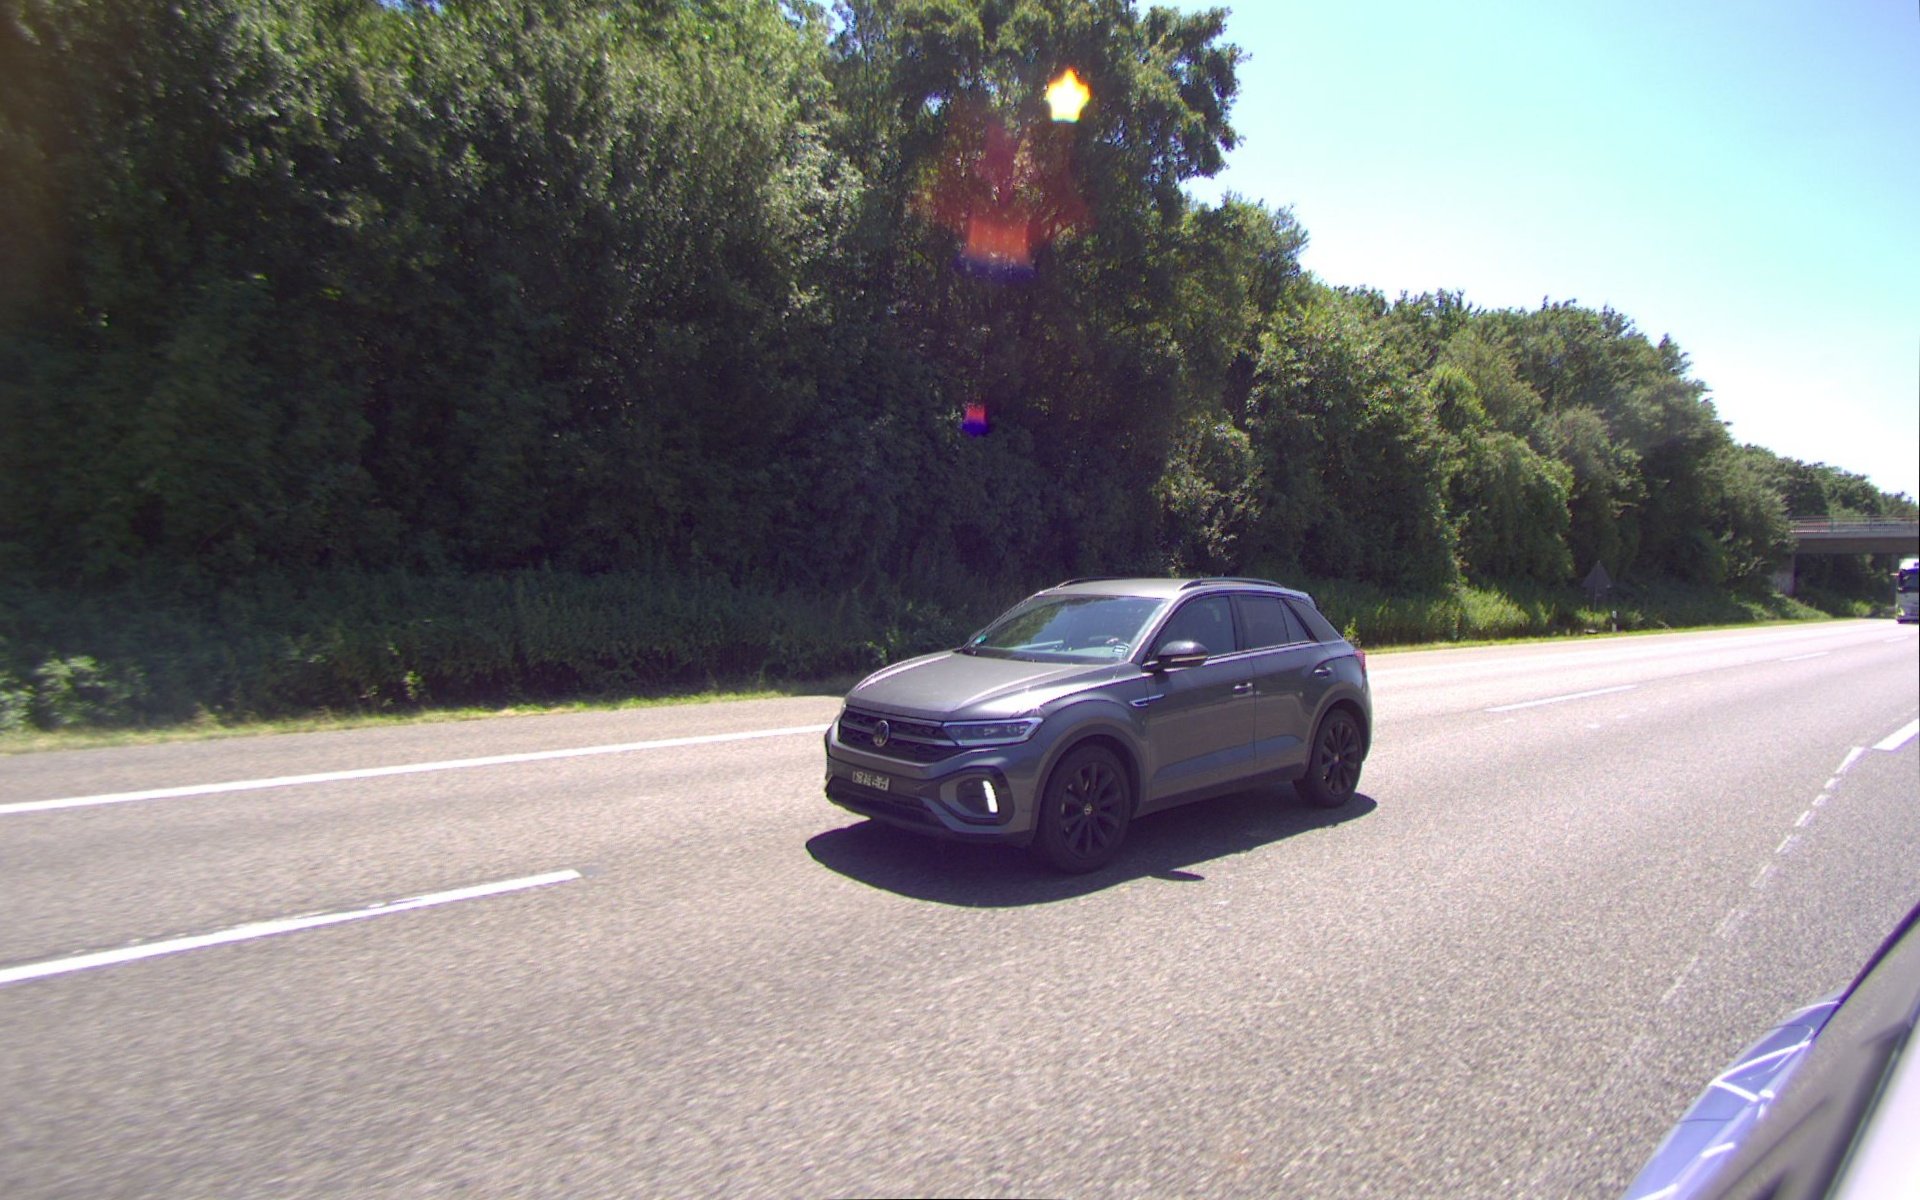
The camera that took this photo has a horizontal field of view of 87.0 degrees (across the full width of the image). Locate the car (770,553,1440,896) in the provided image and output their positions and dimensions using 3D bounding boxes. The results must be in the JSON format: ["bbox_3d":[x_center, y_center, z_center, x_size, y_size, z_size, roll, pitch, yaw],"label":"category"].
[{"bbox_3d":[1.247,0.552,6.849,4.676,1.551,1.902,0,0,-41],"label":"car"}]

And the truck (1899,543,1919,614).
[{"bbox_3d":[60.280,-1.291,62.348,5.944,4.268,3.052,0,0,-42],"label":"truck"}]

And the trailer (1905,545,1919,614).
[{"bbox_3d":[65.325,-1.260,66.908,13.597,4.278,3.044,0,0,-42],"label":"trailer"}]
